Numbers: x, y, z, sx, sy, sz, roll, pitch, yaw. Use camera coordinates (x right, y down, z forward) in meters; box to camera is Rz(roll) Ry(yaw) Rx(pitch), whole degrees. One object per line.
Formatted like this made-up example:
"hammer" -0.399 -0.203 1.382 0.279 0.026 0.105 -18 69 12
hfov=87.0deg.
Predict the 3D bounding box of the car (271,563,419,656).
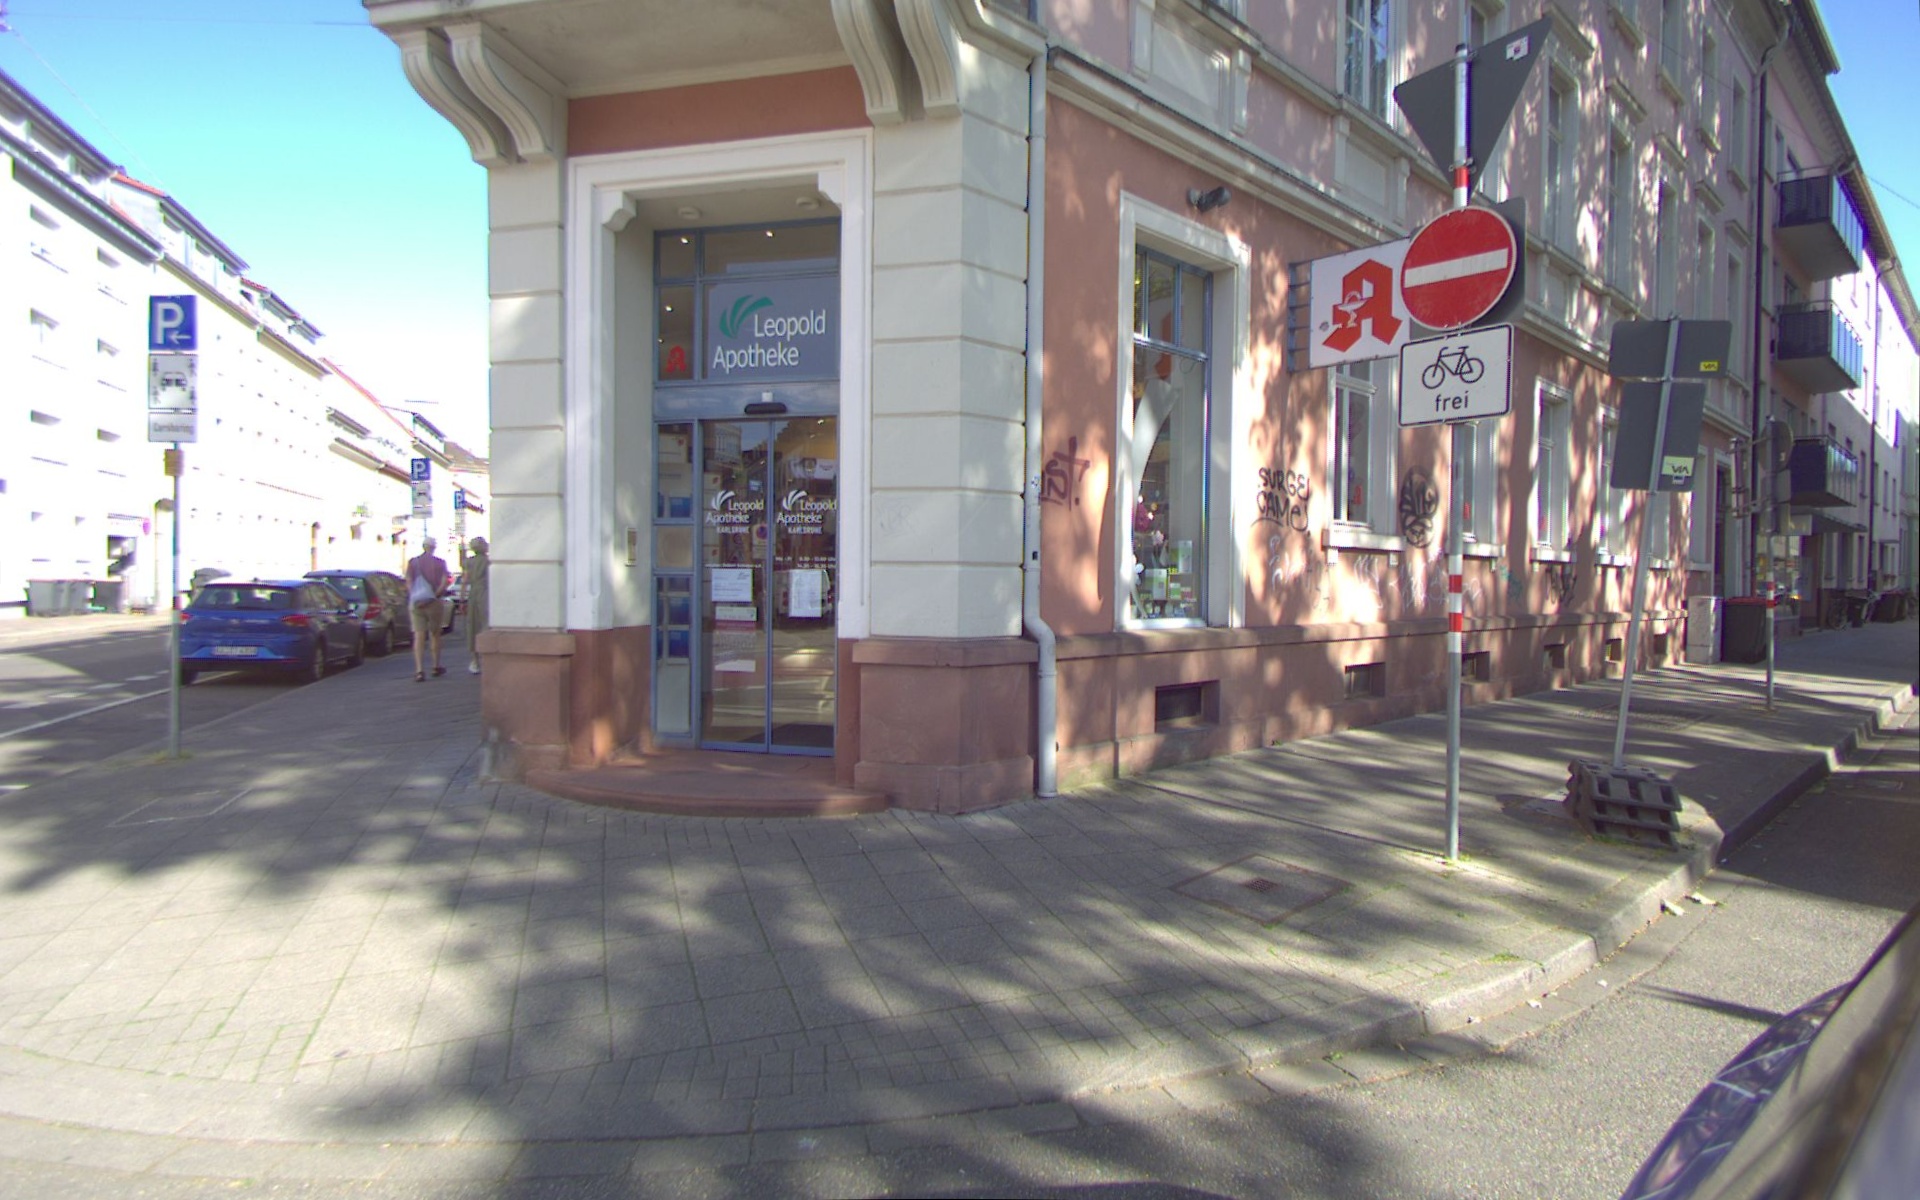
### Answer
"car" -11.735 0.119 19.551 1.671 1.556 3.648 3 2 -19

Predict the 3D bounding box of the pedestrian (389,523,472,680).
"pedestrian" -6.634 0.008 12.684 0.704 1.878 0.563 0 5 41

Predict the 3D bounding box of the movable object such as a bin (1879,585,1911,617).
"movable object such as a bin" 31.924 0.022 34.542 0.537 1.014 0.716 -1 4 -43

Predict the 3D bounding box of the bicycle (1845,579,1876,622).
"bicycle" 25.079 0.008 28.169 1.990 1.164 0.402 -1 1 -42

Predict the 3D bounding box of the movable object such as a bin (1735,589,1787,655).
"movable object such as a bin" 13.798 0.363 17.428 0.602 1.071 0.570 -1 4 -43

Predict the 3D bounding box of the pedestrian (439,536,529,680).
"pedestrian" -6.180 0.110 13.132 0.748 1.787 0.818 -3 -2 40

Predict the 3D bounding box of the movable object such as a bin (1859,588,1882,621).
"movable object such as a bin" 26.859 0.132 29.861 0.297 0.951 0.415 -1 4 -43

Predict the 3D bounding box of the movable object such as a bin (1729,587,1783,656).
"movable object such as a bin" 13.370 0.346 16.998 0.643 1.097 0.570 -1 4 -43

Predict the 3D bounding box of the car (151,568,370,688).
"car" -10.005 0.322 14.782 1.671 1.451 3.648 3 2 -19

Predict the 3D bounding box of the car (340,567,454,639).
"car" -13.054 0.020 23.671 1.671 1.451 3.648 3 2 -19

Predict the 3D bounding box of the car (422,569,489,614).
"car" -18.175 -0.342 36.588 1.671 1.451 3.648 3 2 -19

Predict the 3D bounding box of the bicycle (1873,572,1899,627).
"bicycle" 30.504 -0.040 33.324 2.070 1.757 0.402 -1 1 -42

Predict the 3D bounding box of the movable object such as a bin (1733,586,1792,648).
"movable object such as a bin" 15.017 0.305 18.939 0.608 1.097 0.717 -1 4 -43

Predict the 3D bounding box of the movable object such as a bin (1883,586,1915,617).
"movable object such as a bin" 32.386 0.035 34.915 0.537 1.014 0.716 -1 4 -43
